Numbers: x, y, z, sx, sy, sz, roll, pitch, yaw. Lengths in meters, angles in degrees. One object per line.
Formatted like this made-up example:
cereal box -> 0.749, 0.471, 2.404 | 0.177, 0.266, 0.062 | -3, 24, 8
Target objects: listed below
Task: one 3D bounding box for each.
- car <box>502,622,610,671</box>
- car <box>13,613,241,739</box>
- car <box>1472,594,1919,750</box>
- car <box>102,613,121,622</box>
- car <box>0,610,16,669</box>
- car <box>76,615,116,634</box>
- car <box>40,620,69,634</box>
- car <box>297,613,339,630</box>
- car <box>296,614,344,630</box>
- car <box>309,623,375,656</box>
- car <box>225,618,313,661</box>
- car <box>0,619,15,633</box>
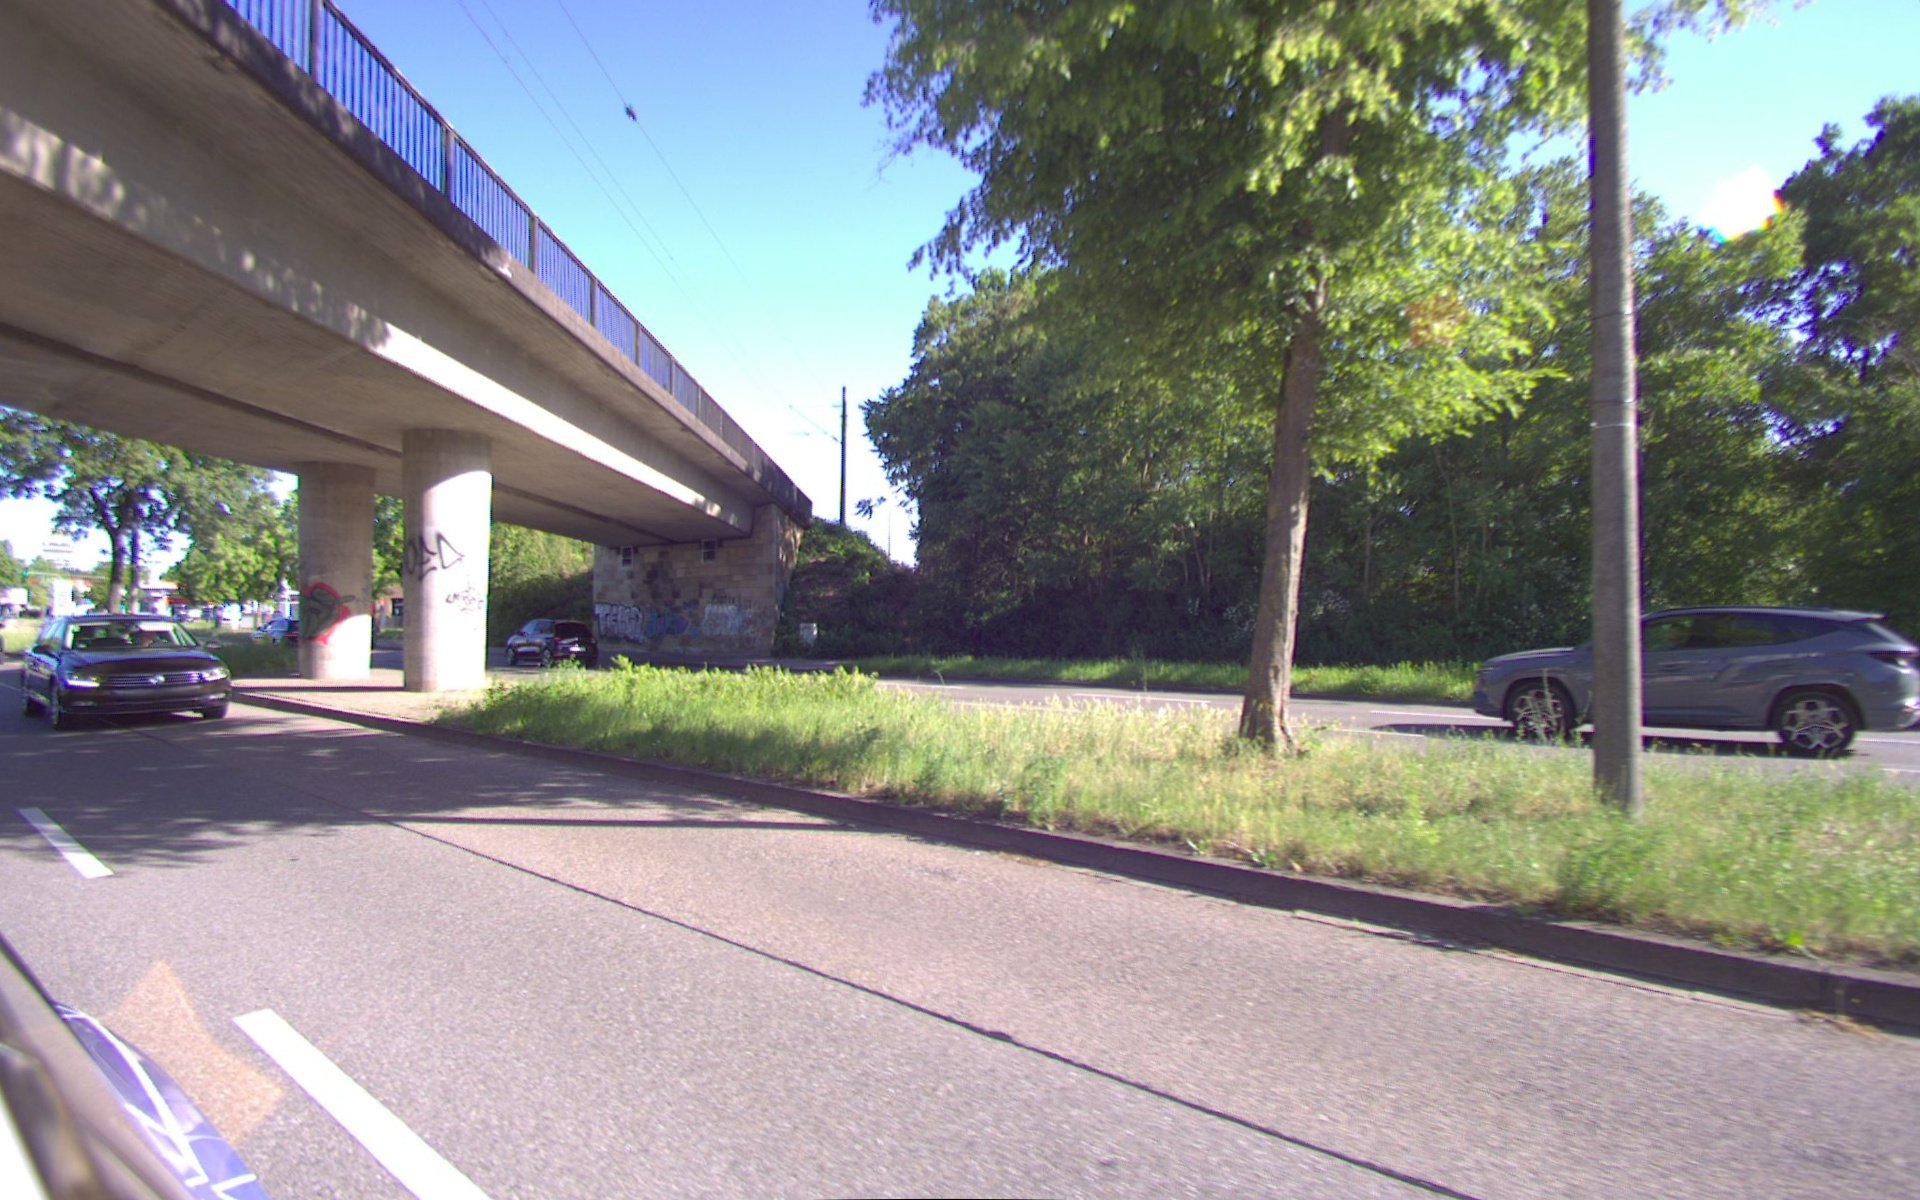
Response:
car -> -13.283, 1.492, 33.224 | 3.637, 1.472, 1.823 | -1, -2, 41
car -> -11.637, 0.929, 14.043 | 4.264, 1.464, 1.824 | -1, -1, 42
car -> 8.973, 0.739, 12.282 | 4.591, 1.564, 1.961 | -1, 0, 42
car -> -149.582, 3.070, 178.403 | 4.116, 1.625, 1.740 | 0, -3, 40
car -> -29.934, 1.155, 30.320 | 4.694, 1.696, 1.973 | -1, 0, 41
car -> -68.078, 1.918, 79.718 | 4.087, 1.453, 1.797 | -1, -2, 41
car -> -105.150, 3.152, 117.506 | 4.487, 1.466, 1.894 | 0, -3, 41
car -> -73.998, 2.455, 116.654 | 3.778, 1.864, 1.847 | -1, 0, 1
car -> -71.170, 2.474, 112.548 | 4.073, 1.674, 1.896 | -1, 0, -1
car -> -32.103, 2.040, 52.542 | 4.177, 1.629, 1.711 | -1, -2, 41
car -> -27.044, 1.538, 39.586 | 3.998, 1.555, 1.823 | -1, -4, 41
car -> -109.093, 2.919, 115.170 | 4.628, 1.446, 1.798 | 0, -3, 41
